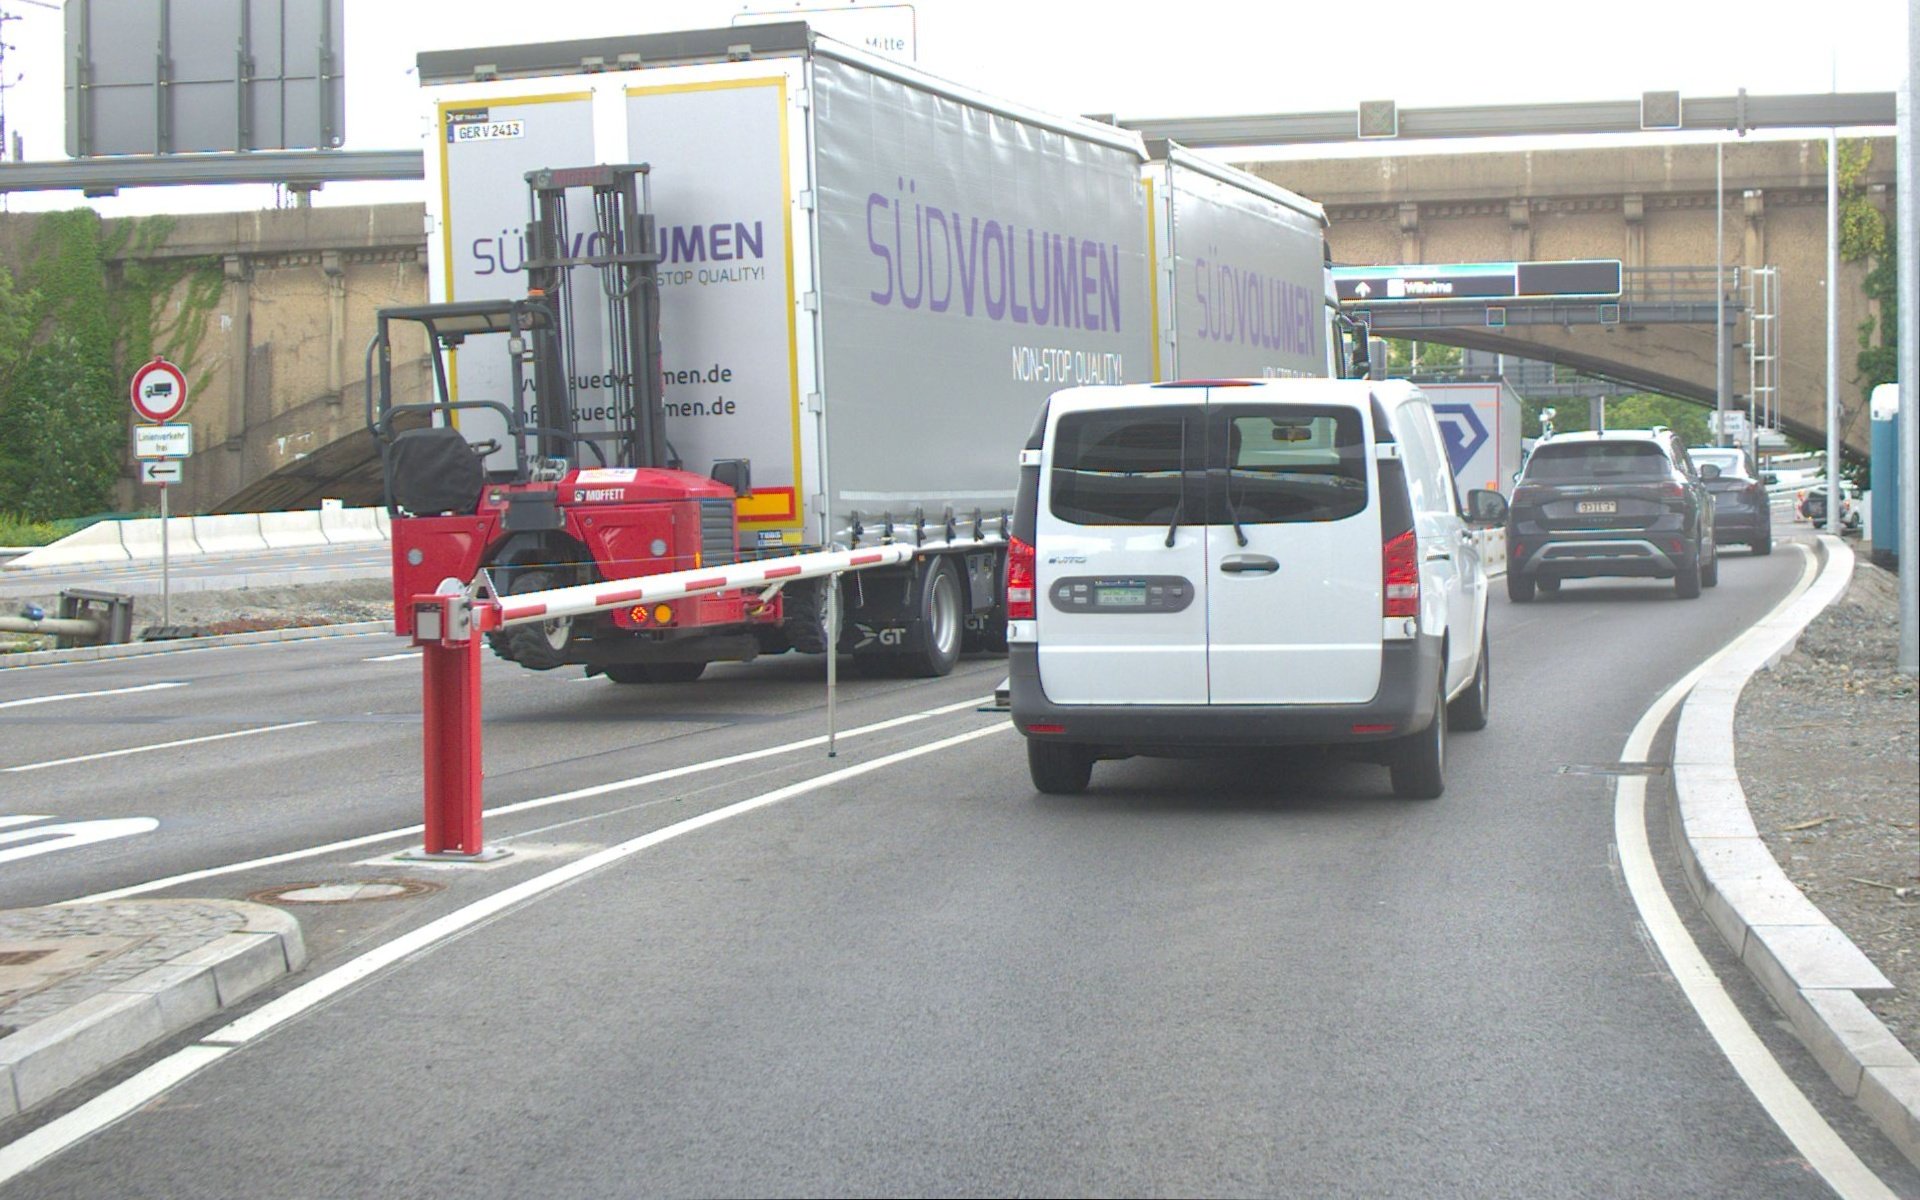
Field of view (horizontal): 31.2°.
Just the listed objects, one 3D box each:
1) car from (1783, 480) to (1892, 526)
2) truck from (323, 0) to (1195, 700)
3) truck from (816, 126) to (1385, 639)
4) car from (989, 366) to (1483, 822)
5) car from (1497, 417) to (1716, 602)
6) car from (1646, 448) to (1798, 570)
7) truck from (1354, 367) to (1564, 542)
[{"bbox_3d":[37.747,-4.148,147.893,4.470,1.803,1.904,1,0,-31],"label":"car"},{"bbox_3d":[-0.899,-1.594,24.849,2.920,4.003,10.193,1,2,17],"label":"truck"},{"bbox_3d":[1.787,-1.940,33.748,2.990,4.161,11.233,1,2,16],"label":"truck"},{"bbox_3d":[1.500,-0.164,16.799,1.877,1.884,4.751,1,3,11],"label":"car"},{"bbox_3d":[6.146,-0.858,32.398,1.750,1.619,3.842,-1,2,15],"label":"car"},{"bbox_3d":[10.062,-1.166,45.270,1.502,1.464,3.395,0,-1,20],"label":"car"},{"bbox_3d":[12.420,-3.506,83.997,3.319,3.796,16.584,2,2,14],"label":"truck"}]
